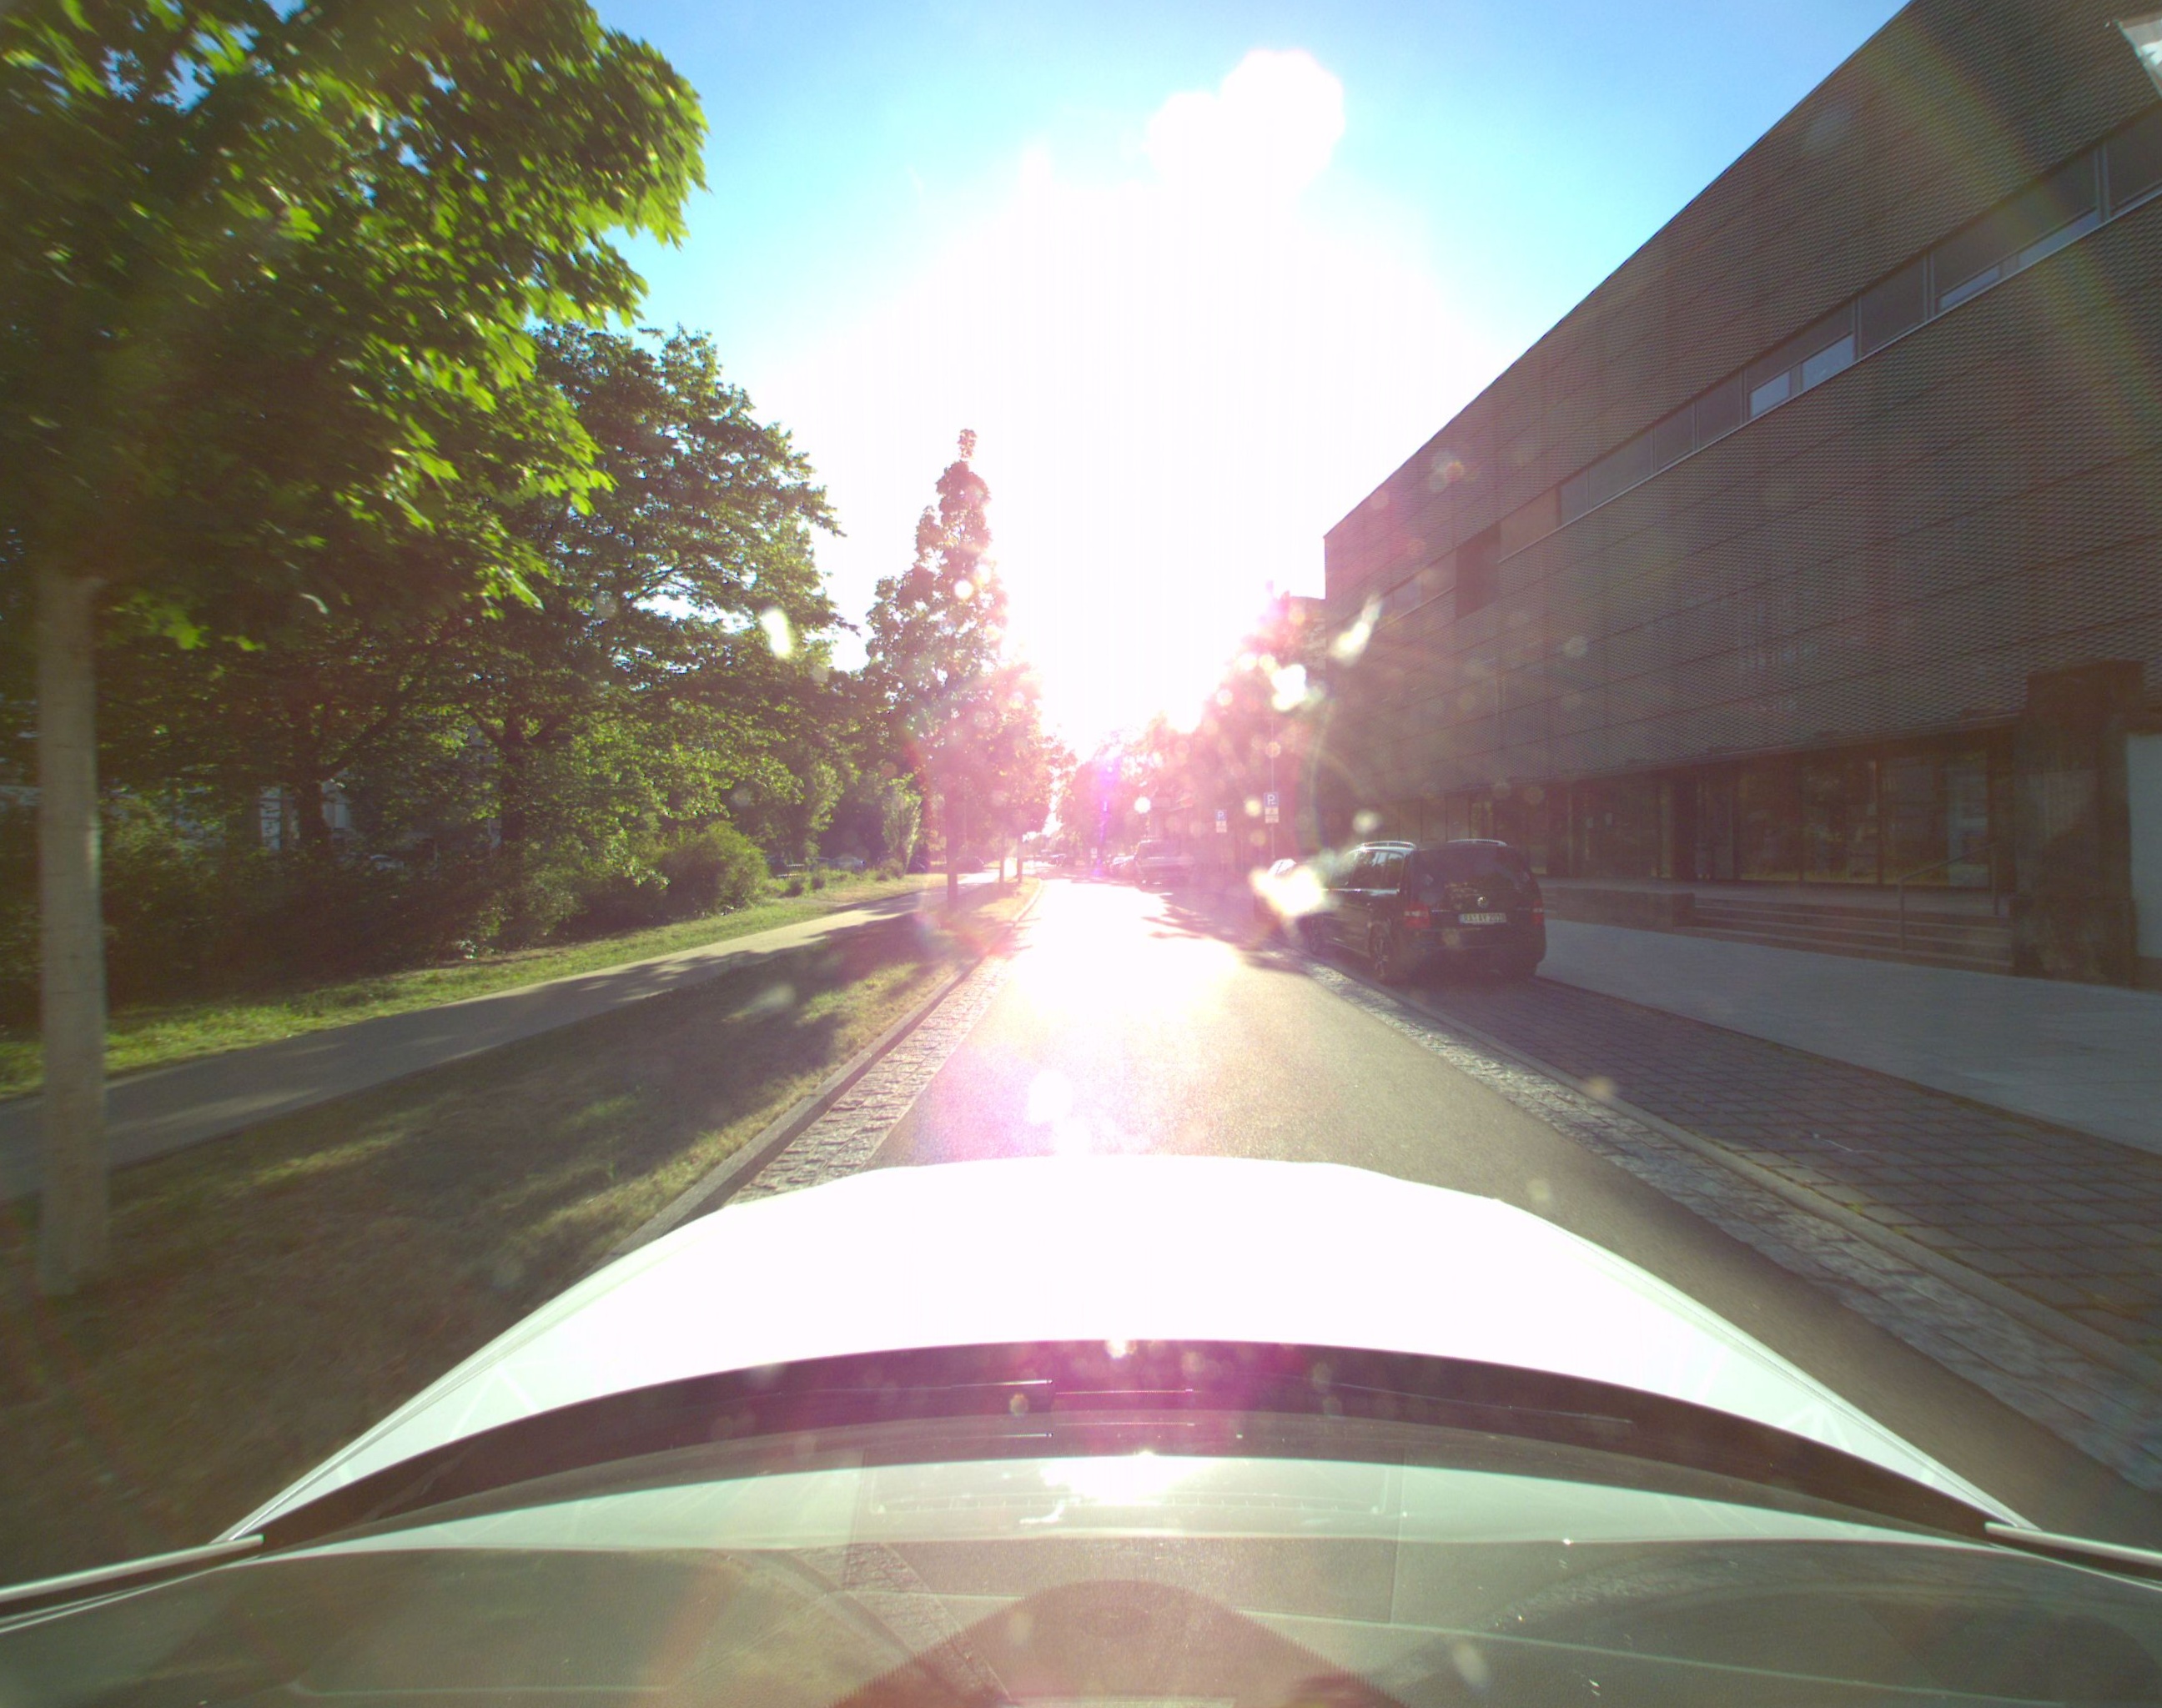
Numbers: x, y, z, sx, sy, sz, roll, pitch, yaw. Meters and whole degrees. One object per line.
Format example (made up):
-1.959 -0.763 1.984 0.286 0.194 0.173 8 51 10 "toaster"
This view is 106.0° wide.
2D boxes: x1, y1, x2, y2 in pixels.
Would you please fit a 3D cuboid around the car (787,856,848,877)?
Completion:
-19.276 0.892 59.504 4.009 1.420 1.756 -2 1 -27 "car"

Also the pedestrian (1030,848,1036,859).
-6.299 -0.038 107.236 0.686 1.434 1.024 -1 1 0 "pedestrian"

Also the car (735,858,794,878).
-24.548 1.064 63.143 4.012 1.420 1.755 -1 0 -30 "car"

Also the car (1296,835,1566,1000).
4.260 0.632 10.695 1.719 1.668 4.113 -3 1 0 "car"

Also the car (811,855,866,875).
-19.622 0.881 65.924 4.013 1.420 1.754 -2 1 -31 "car"

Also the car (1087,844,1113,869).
1.569 0.199 69.146 1.819 2.013 3.599 -1 1 -5 "car"

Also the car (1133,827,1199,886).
3.995 0.063 39.658 2.206 2.529 6.142 -4 1 -2 "car"

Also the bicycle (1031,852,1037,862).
-6.210 0.406 107.211 0.686 1.202 2.343 -1 1 0 "bicycle"

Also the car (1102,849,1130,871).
2.651 0.437 62.253 1.687 1.565 4.098 -2 1 -4 "car"

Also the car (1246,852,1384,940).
4.559 0.742 16.439 1.718 1.421 3.908 -2 1 1 "car"

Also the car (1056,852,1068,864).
-2.992 0.601 128.549 1.789 1.724 3.997 -1 1 -2 "car"

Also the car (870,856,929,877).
-13.837 0.957 62.162 4.011 1.420 1.755 -2 1 -29 "car"

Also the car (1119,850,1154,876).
3.433 0.545 50.933 1.687 1.440 3.546 -2 1 -4 "car"

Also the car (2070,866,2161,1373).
3.937 0.789 0.322 1.741 1.466 4.480 -2 1 2 "car"

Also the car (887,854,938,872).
-14.250 0.728 68.781 3.934 1.420 1.756 -2 1 -27 "car"

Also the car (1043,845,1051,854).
-7.591 -1.026 180.879 1.789 1.999 3.997 -1 1 -2 "car"

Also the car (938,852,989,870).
-10.244 0.580 70.856 4.012 1.420 1.755 -2 1 -30 "car"

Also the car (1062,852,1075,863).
-1.735 0.451 114.601 1.788 1.509 4.000 -1 1 0 "car"

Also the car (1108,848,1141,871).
2.959 0.352 56.234 1.687 1.440 4.098 -2 1 -4 "car"
